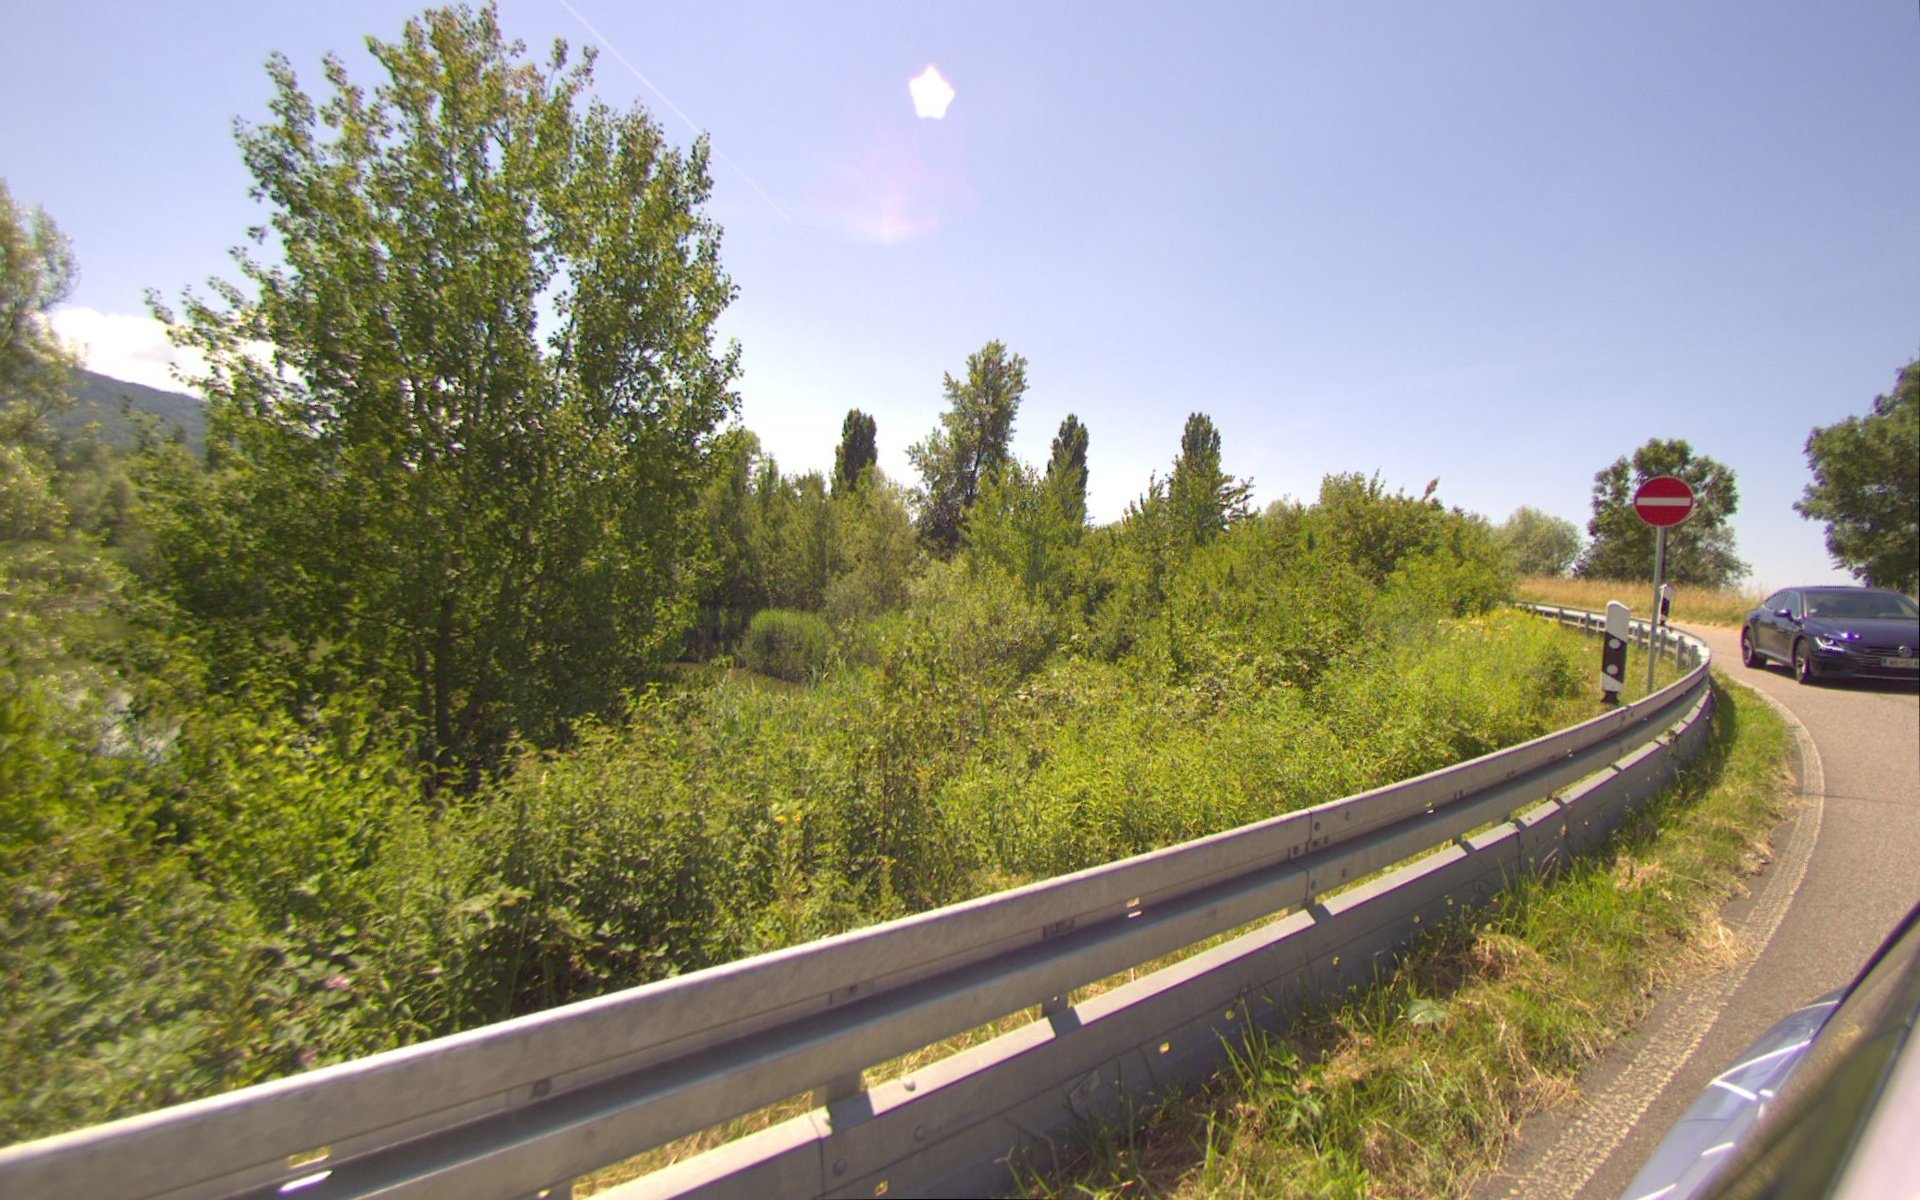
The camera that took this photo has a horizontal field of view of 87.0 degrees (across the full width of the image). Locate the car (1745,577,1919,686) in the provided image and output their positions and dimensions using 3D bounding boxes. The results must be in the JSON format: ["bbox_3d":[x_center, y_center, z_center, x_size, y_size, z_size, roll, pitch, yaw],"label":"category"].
[{"bbox_3d":[13.769,0.377,15.554,1.827,1.448,4.491,1,2,27],"label":"car"}]
